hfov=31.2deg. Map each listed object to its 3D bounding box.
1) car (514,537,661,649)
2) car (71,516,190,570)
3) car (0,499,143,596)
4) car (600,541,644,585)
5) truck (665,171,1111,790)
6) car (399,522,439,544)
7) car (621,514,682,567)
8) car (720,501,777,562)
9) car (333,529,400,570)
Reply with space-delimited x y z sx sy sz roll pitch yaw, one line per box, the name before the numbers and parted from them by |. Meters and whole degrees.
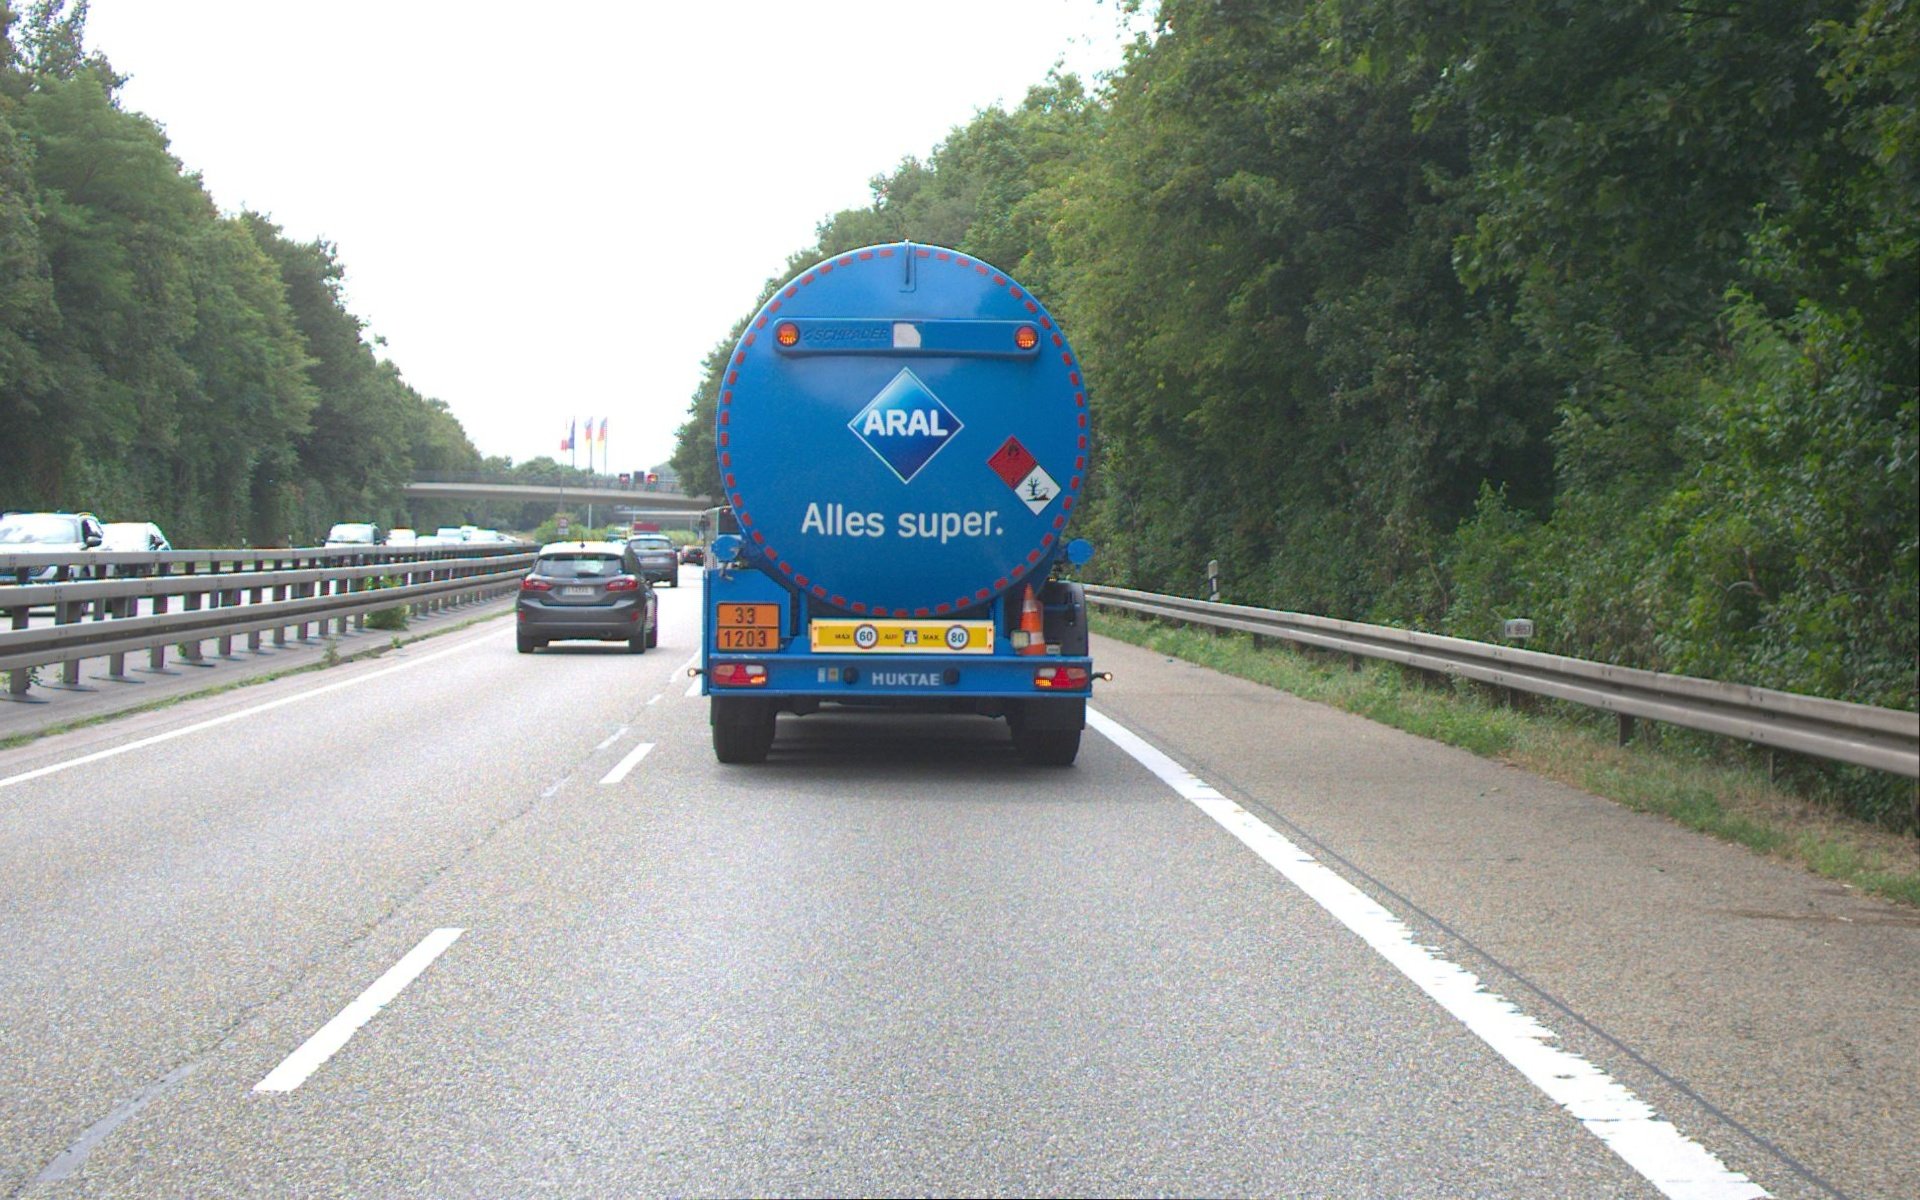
car | -5.008 -0.128 46.701 1.826 1.453 4.640 0 1 -4
car | -18.768 -1.291 77.916 1.742 1.185 4.291 0 1 -1
car | -13.565 -0.791 51.664 1.643 1.384 4.291 0 1 -1
car | -15.634 -1.724 158.947 1.993 2.007 4.001 0 1 -6
truck | -0.446 -0.824 25.131 2.755 3.833 7.689 0 1 0
car | -29.403 -3.638 186.885 1.742 1.185 4.291 0 1 -3
car | -9.585 -1.849 106.758 1.826 1.604 4.168 0 1 -6
car | -7.890 -2.547 128.002 1.993 2.237 4.001 0 1 -6
car | -17.554 -1.496 101.759 1.741 1.185 4.292 0 1 -7
